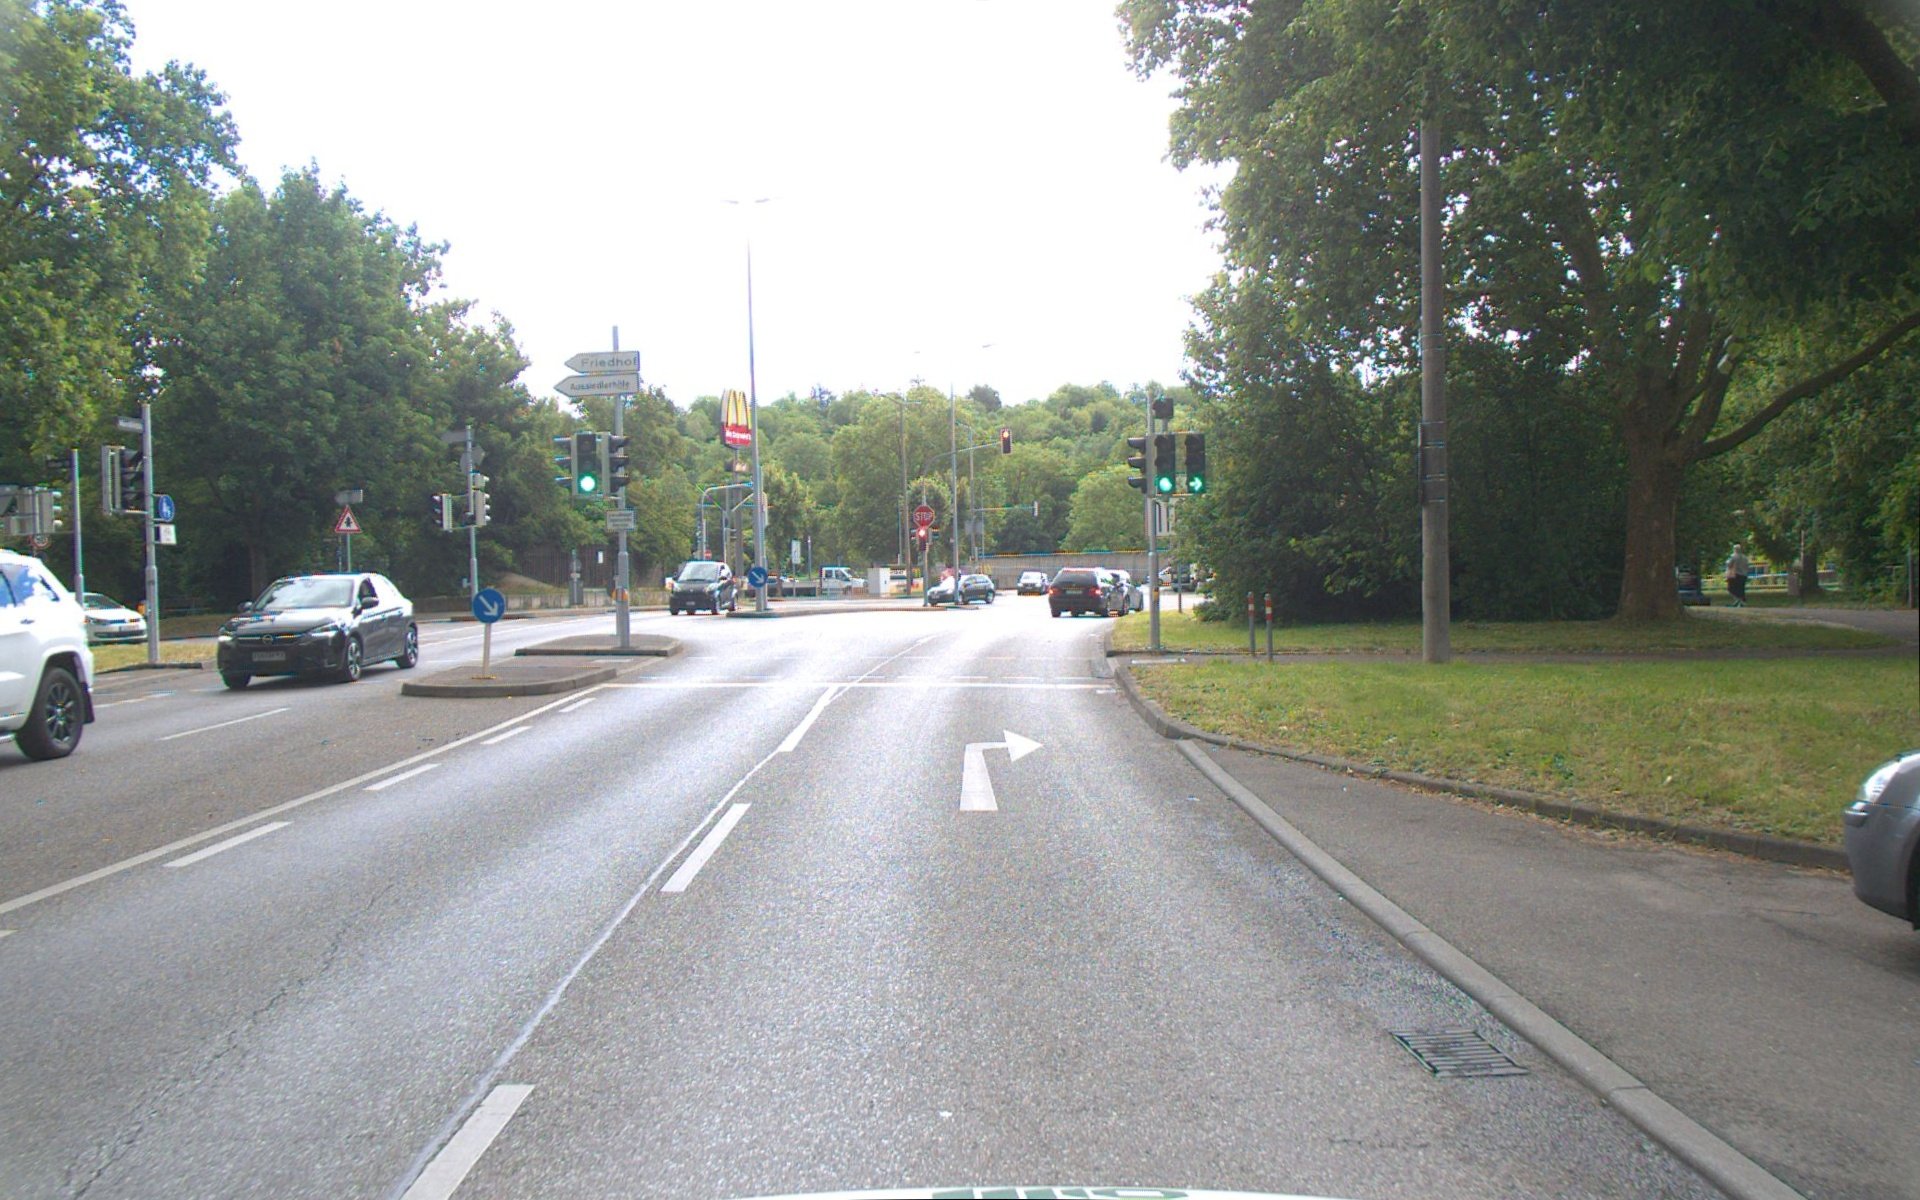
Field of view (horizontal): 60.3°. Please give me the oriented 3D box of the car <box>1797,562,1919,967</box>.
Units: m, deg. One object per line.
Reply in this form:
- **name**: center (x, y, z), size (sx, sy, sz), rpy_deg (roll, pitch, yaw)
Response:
- **car**: center (4.952, 0.607, 5.028), size (1.709, 1.454, 4.073), rpy_deg (-2, 2, -29)

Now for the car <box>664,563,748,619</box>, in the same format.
- **car**: center (-7.640, -0.298, 49.999), size (1.535, 1.553, 3.192), rpy_deg (-1, 2, 9)

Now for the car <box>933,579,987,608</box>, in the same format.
- **car**: center (0.025, -0.334, 82.254), size (1.641, 1.390, 4.315), rpy_deg (0, 1, 15)

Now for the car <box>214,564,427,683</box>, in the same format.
- **car**: center (-8.857, 0.256, 23.239), size (1.537, 1.406, 3.948), rpy_deg (-3, 2, -3)

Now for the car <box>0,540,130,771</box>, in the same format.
- **car**: center (-8.403, 0.481, 12.503), size (1.872, 1.794, 4.751), rpy_deg (-3, 1, -2)

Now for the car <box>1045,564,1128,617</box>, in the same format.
- **car**: center (3.989, -0.308, 51.513), size (1.783, 1.535, 4.578), rpy_deg (-1, 0, 14)

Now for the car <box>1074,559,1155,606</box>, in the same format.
- **car**: center (5.480, -0.604, 58.267), size (1.692, 1.557, 4.148), rpy_deg (-1, 0, 22)

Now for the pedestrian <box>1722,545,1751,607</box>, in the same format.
- **pedestrian**: center (19.842, -0.607, 42.266), size (0.499, 1.558, 0.778), rpy_deg (-1, 0, 14)

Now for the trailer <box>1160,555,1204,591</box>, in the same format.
- **trailer**: center (17.089, -2.053, 127.300), size (2.303, 2.627, 4.921), rpy_deg (-2, 0, 20)
